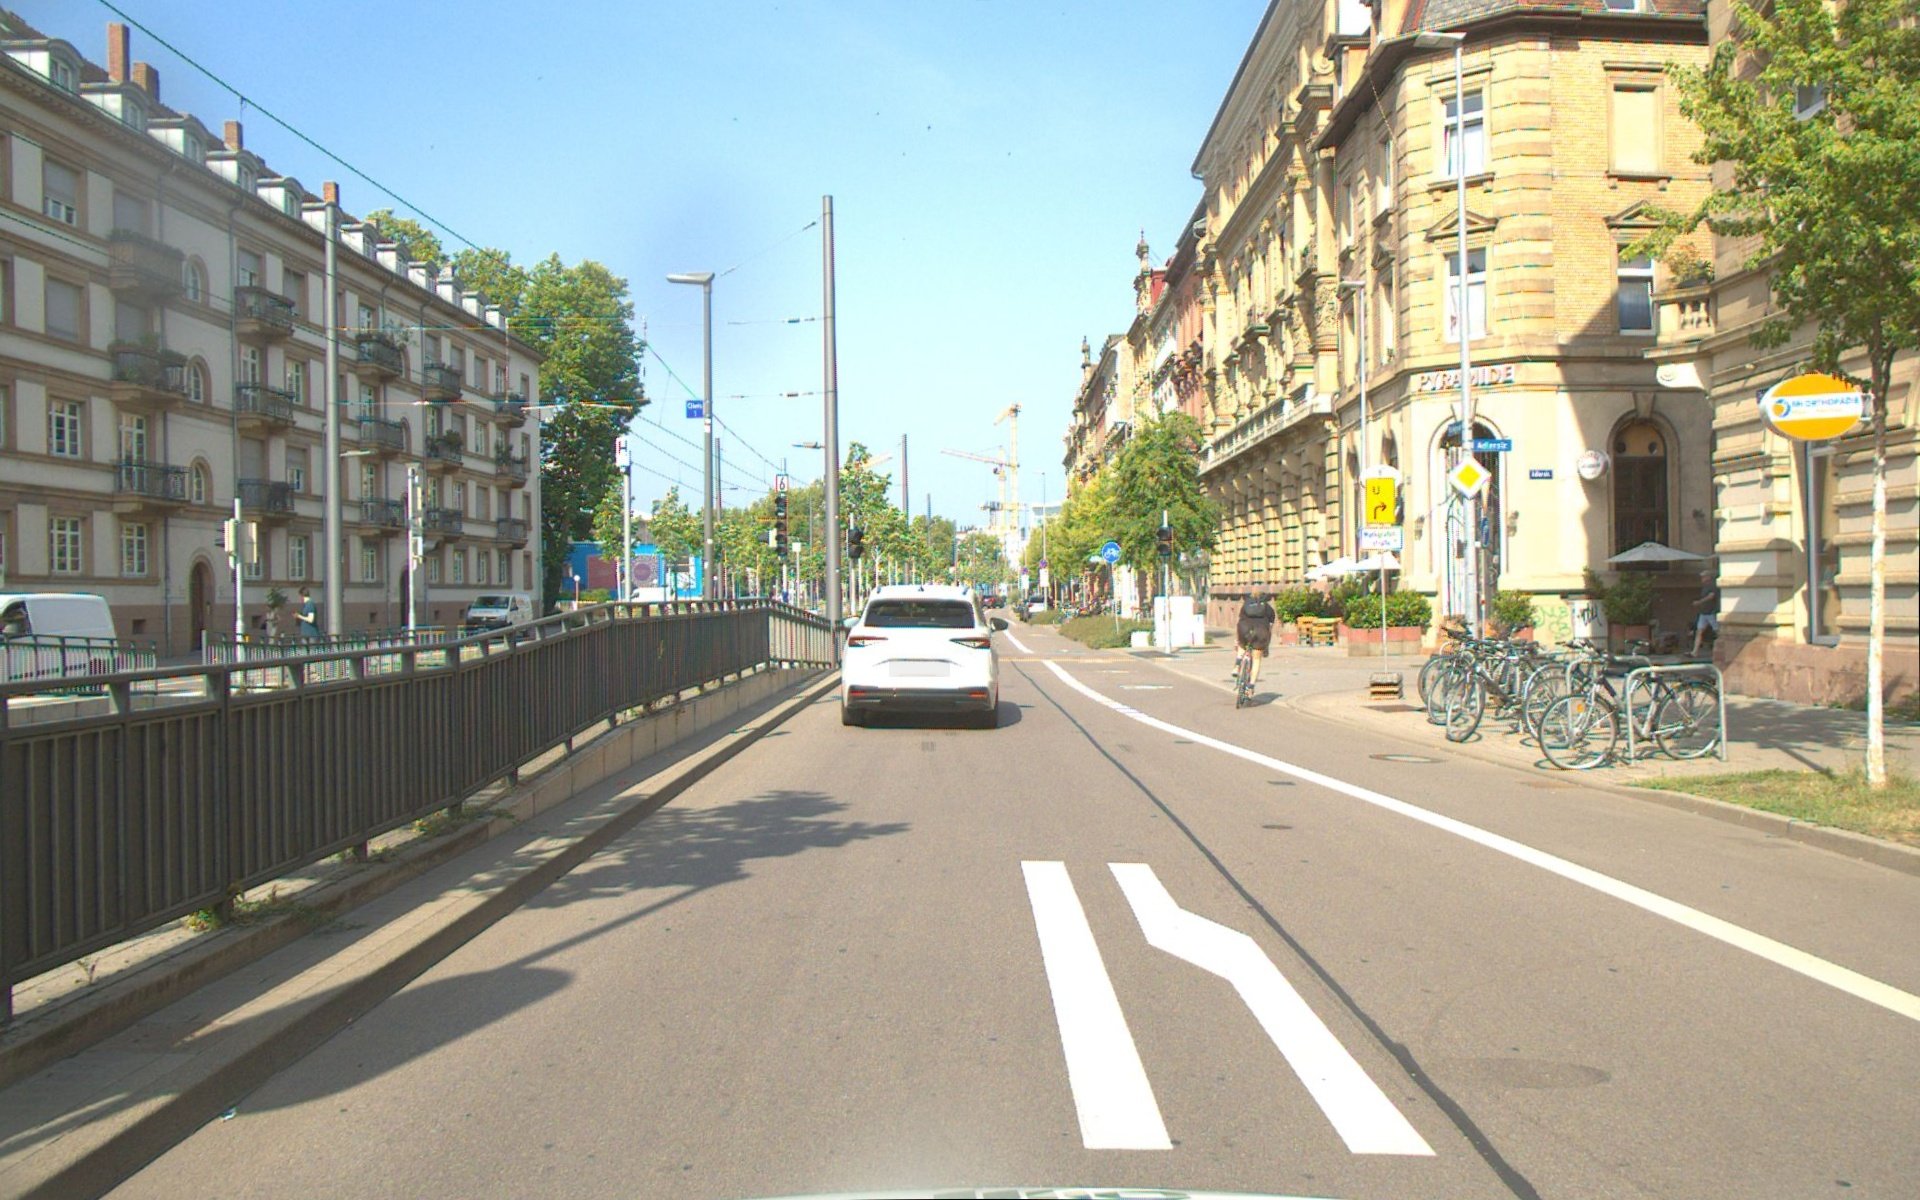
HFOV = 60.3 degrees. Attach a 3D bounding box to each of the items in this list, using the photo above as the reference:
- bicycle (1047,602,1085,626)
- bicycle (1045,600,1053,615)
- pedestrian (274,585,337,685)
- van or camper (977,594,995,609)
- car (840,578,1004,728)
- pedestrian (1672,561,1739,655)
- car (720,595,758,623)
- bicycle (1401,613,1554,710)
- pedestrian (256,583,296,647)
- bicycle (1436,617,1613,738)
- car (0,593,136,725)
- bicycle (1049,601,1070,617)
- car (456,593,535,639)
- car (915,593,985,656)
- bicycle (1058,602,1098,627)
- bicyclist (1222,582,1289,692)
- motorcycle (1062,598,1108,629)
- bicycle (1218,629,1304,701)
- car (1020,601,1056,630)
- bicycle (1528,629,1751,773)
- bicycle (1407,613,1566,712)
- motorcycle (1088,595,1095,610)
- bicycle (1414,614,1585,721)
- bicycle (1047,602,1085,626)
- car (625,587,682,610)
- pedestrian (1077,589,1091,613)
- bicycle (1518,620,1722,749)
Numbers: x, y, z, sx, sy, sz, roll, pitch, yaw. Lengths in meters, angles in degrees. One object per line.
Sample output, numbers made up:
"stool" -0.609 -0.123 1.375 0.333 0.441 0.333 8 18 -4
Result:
"bicycle" 5.100 0.683 79.543 1.748 1.072 0.373 -3 0 -1
"bicycle" 6.571 0.529 122.397 0.482 1.113 1.827 -1 0 1
"pedestrian" -12.783 0.669 32.301 1.055 1.900 0.856 -1 0 -27
"van or camper" 2.972 0.187 190.412 1.953 1.684 4.000 -2 0 0
"car" -0.390 0.574 20.210 1.780 1.617 4.407 0 0 0
"pedestrian" 15.196 0.147 33.732 0.845 1.837 0.992 -2 2 -5
"car" -16.172 0.645 121.116 1.952 1.928 5.047 -1 0 1
"bicycle" 6.546 0.769 20.959 1.716 1.106 0.583 -3 0 3
"pedestrian" -22.810 0.496 55.160 0.825 2.104 1.157 0 0 1
"bicycle" 6.018 0.809 17.633 1.732 1.106 0.668 -4 0 -23
"car" -15.937 0.926 27.556 1.953 2.049 4.931 -1 0 -1
"bicycle" 7.303 0.652 121.511 0.447 1.101 1.866 -3 -3 42
"car" -20.676 0.691 73.862 1.952 1.951 5.153 1 0 1
"car" -0.223 0.594 42.473 1.718 1.510 4.407 0 0 0
"bicycle" 5.595 0.688 78.326 1.772 1.115 0.671 -3 0 -5
"bicyclist" 4.126 0.516 23.070 0.573 1.508 0.928 -2 -2 34
"motorcycle" 5.630 0.602 74.230 2.017 1.309 0.697 -3 1 -34
"bicycle" 4.233 0.895 23.157 0.496 0.970 1.779 -2 -2 34
"car" 4.765 0.930 101.073 1.734 1.616 4.245 -2 0 -3
"bicycle" 6.056 0.886 14.770 1.723 1.106 0.609 -4 0 -9
"bicycle" 6.464 0.763 20.358 1.716 1.106 0.583 -3 0 3
"motorcycle" 10.569 0.209 132.961 0.454 1.196 1.945 -3 0 1
"bicycle" 6.208 0.771 19.103 1.718 1.106 0.669 -3 0 5
"bicycle" 5.106 0.685 79.888 1.748 1.072 0.373 -3 0 -1
"car" -38.701 -0.167 209.005 6.774 2.685 2.499 2 -1 -21
"pedestrian" 9.256 0.087 123.409 0.806 1.726 0.792 -3 0 -4
"bicycle" 6.511 0.817 16.337 1.723 1.106 0.656 -4 0 -9
